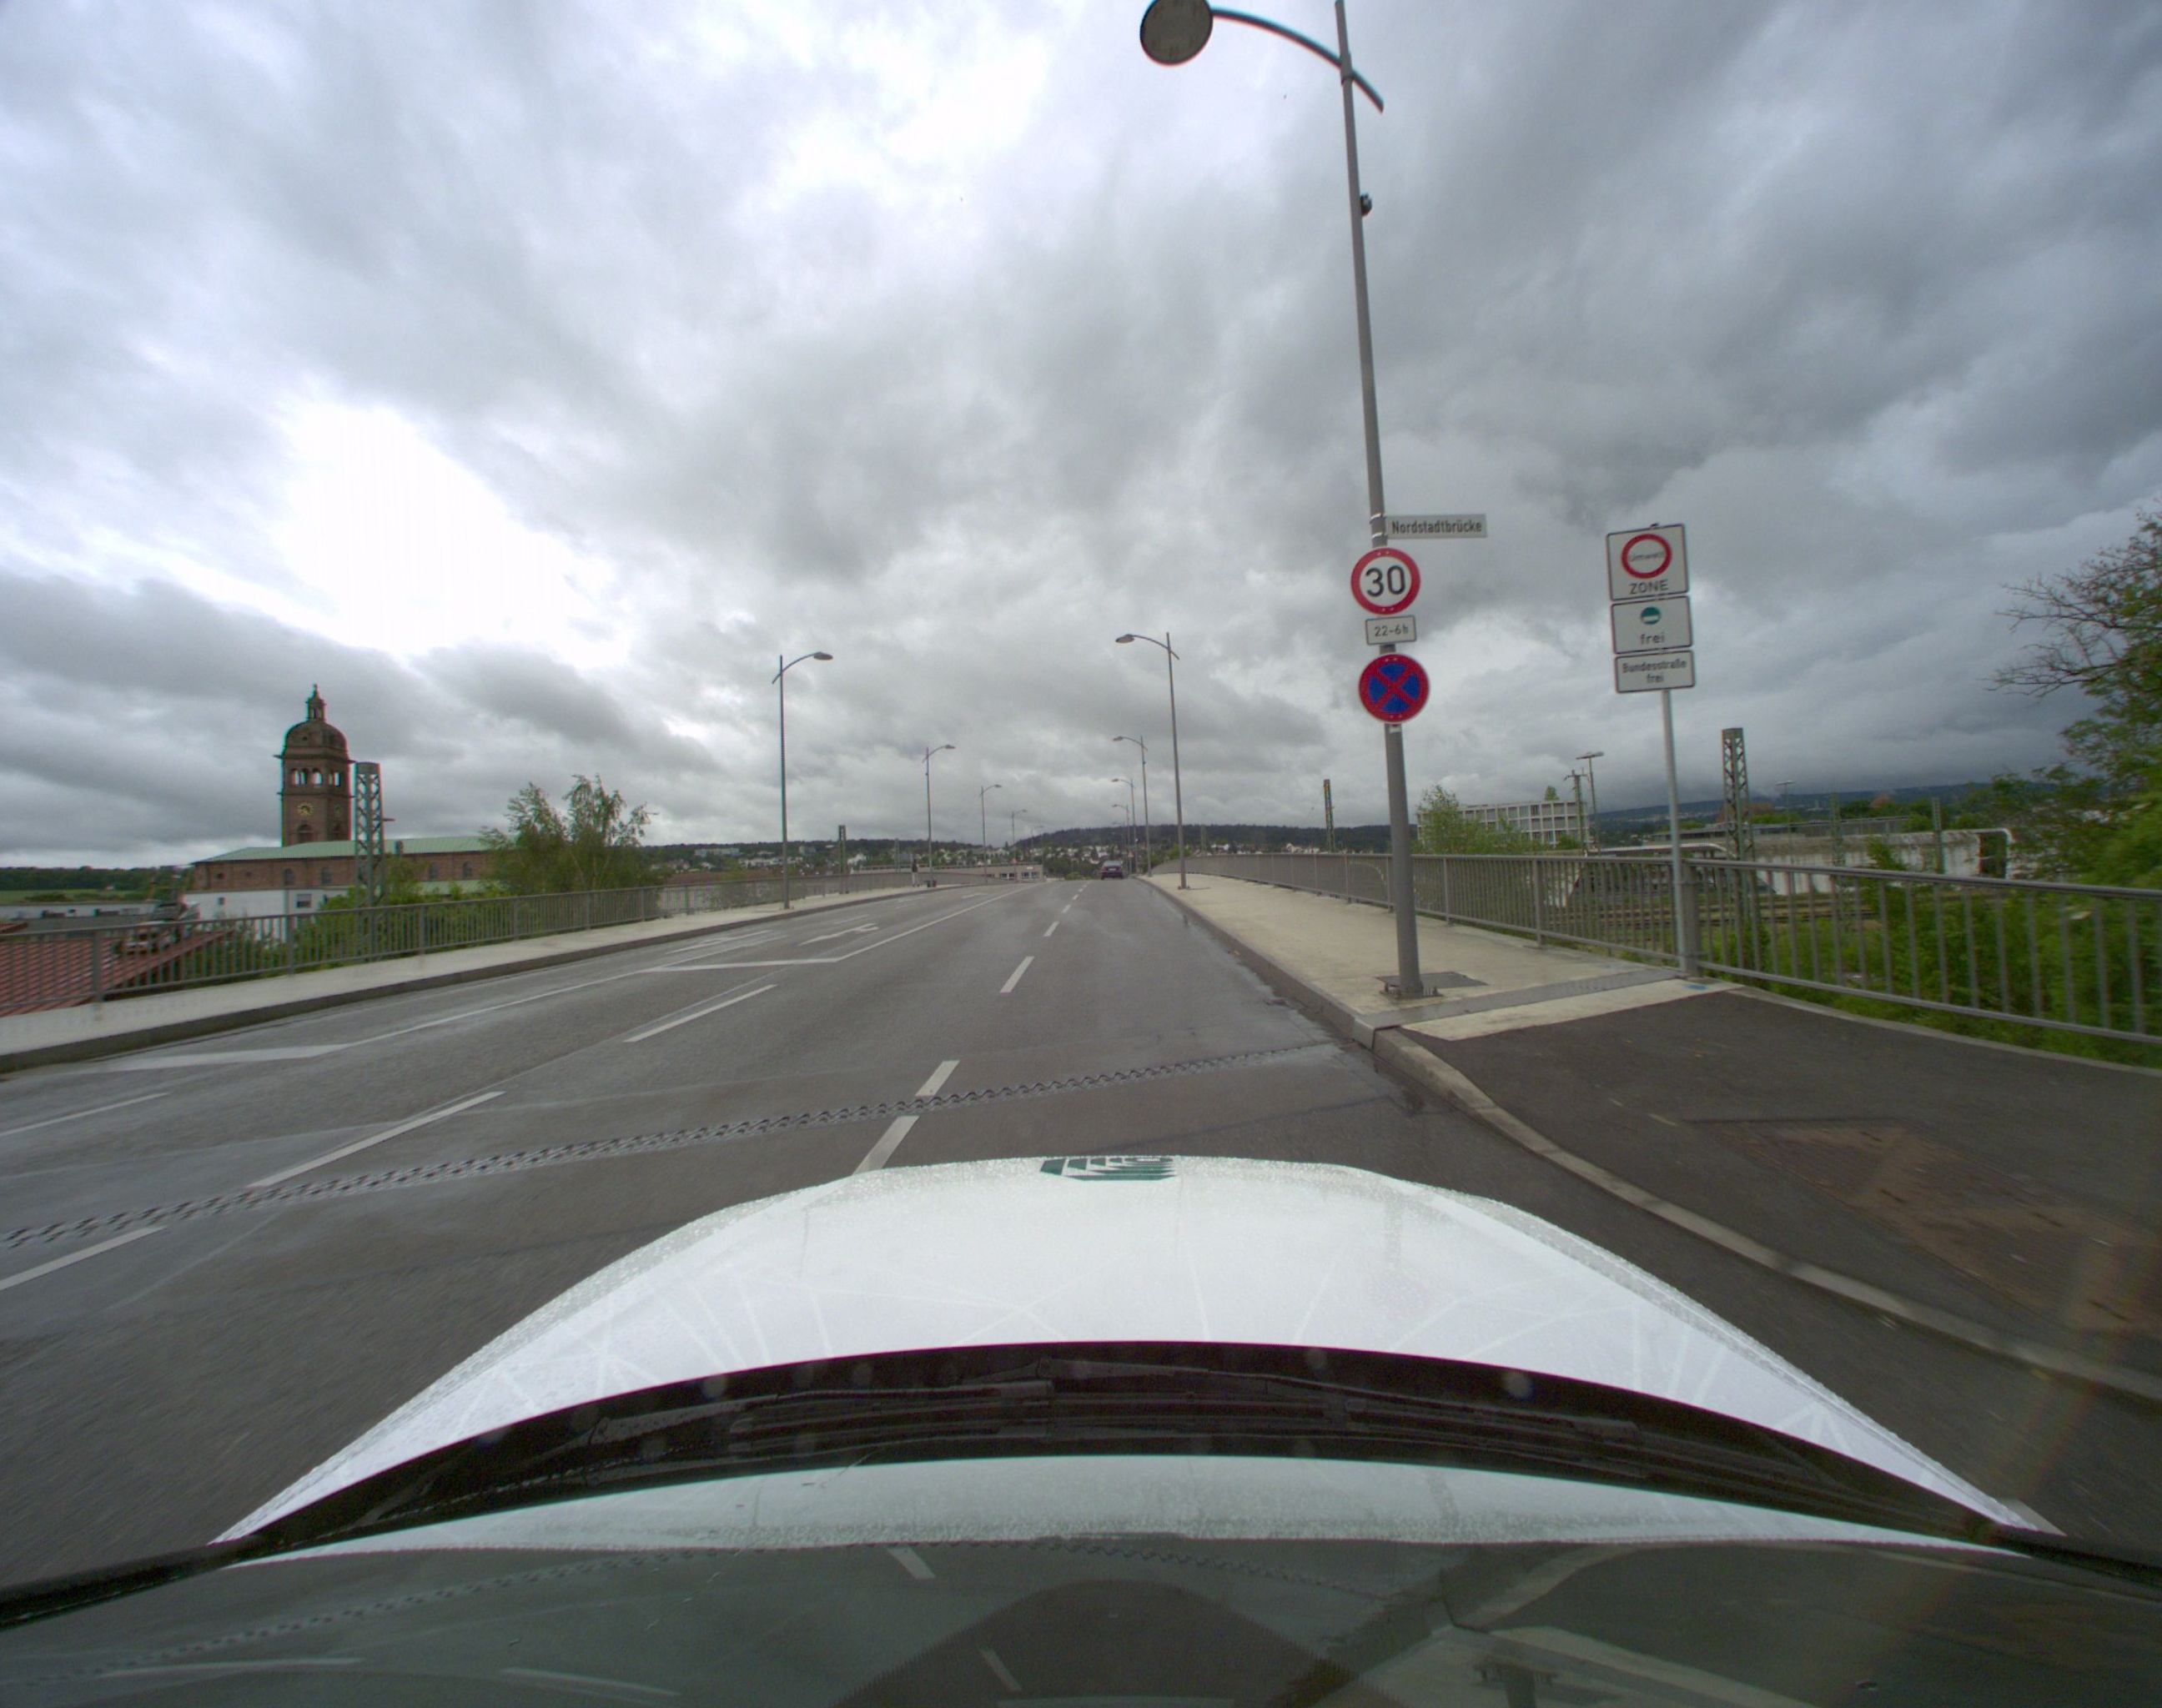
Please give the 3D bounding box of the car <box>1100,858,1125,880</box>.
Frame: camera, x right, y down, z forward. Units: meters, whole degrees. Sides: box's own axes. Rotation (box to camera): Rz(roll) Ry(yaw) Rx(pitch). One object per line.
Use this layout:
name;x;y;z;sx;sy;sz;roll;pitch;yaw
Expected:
car;2.352;1.133;60.870;1.747;1.479;4.001;-3;-3;2

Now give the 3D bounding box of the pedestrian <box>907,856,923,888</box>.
pedestrian;-10.978;1.176;54.006;0.753;2.048;0.892;-3;-3;1
